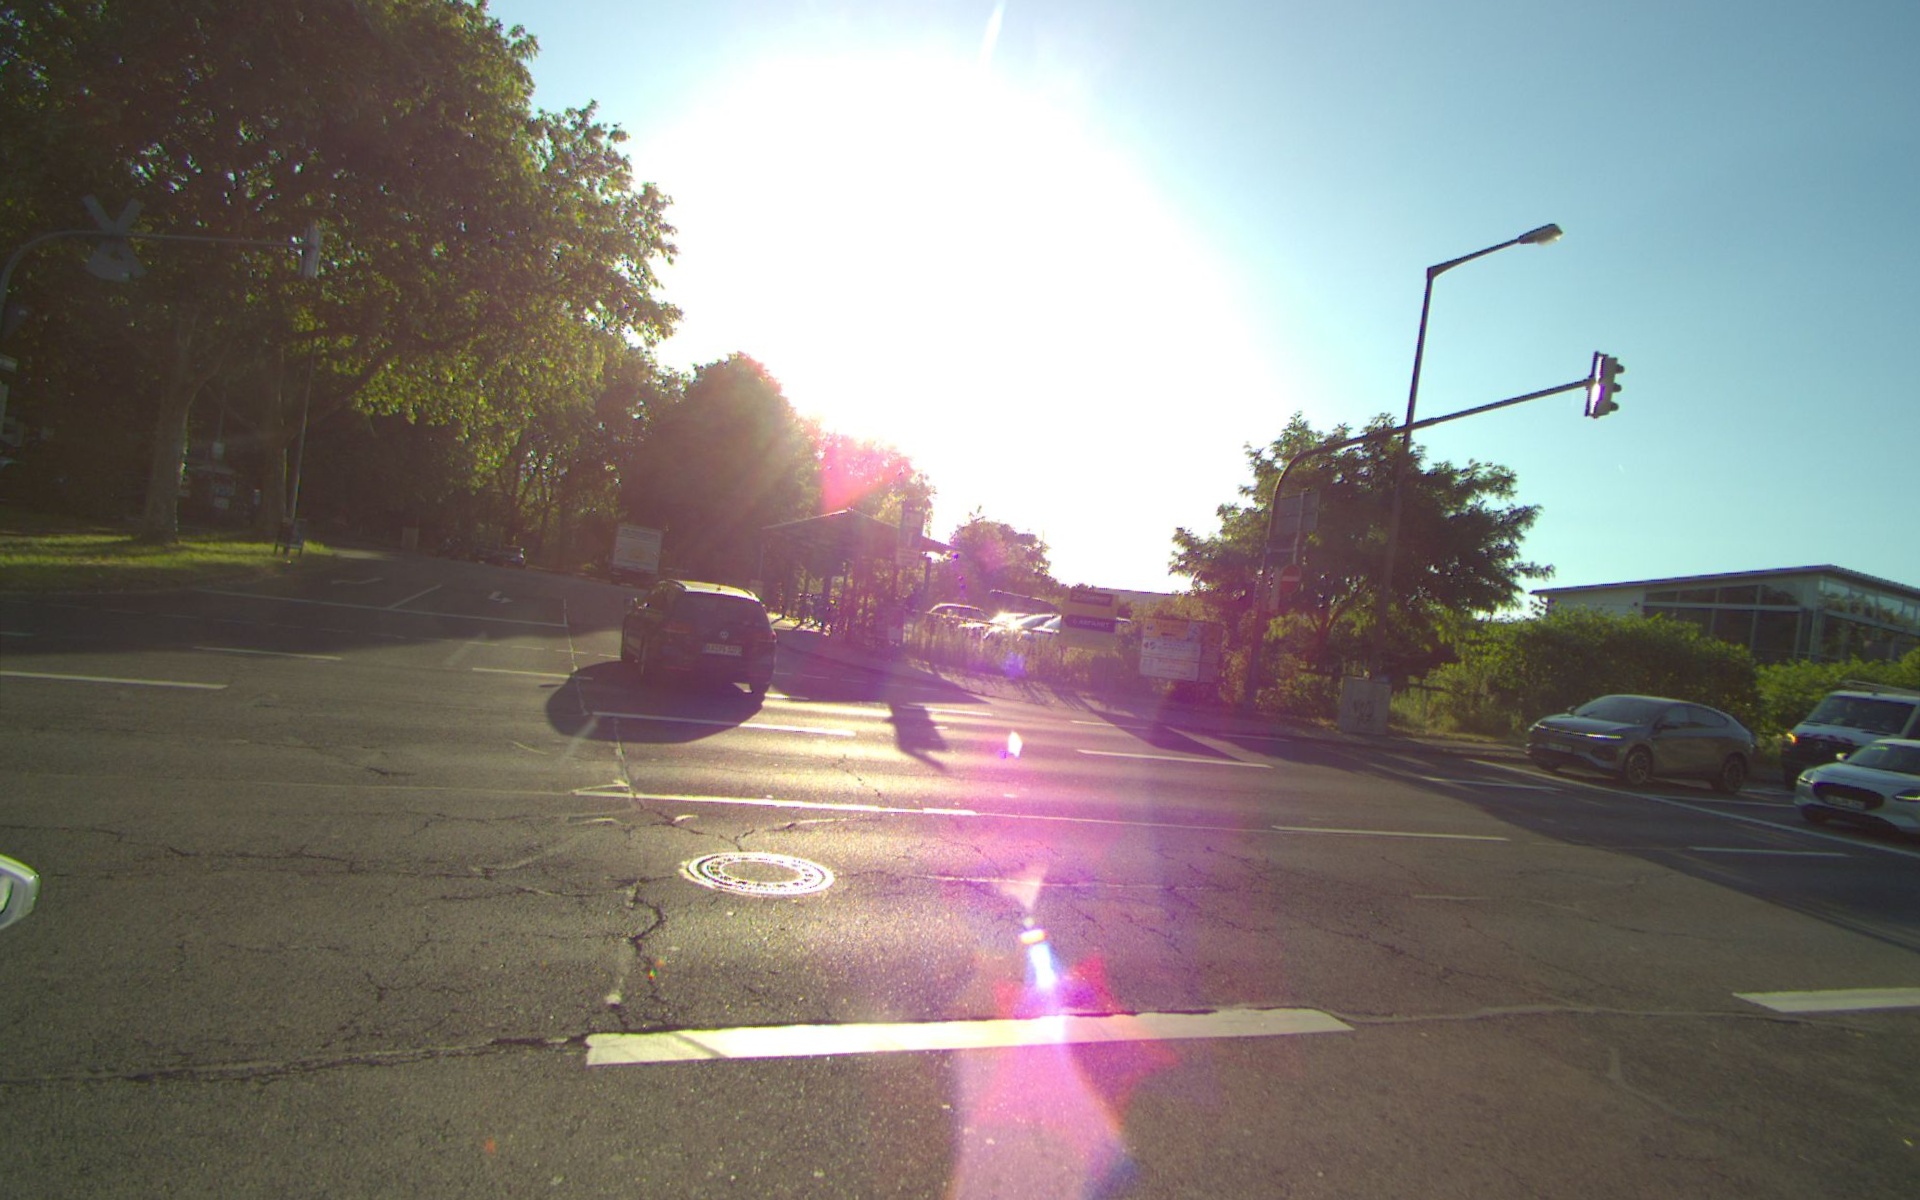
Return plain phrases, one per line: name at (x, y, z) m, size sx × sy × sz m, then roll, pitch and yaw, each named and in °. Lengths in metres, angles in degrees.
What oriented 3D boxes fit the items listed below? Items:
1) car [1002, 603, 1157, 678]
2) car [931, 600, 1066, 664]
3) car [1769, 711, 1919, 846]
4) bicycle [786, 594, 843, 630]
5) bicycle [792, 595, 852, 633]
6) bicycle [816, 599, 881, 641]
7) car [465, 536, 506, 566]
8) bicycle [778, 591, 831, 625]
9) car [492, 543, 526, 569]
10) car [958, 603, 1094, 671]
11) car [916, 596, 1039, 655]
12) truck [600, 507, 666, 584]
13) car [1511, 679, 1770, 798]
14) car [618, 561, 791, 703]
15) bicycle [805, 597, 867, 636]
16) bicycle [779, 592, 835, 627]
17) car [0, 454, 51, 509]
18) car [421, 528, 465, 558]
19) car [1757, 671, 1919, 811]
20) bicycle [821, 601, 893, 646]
car at (3.706, 1.266, 31.347) m, size 4.173 × 1.668 × 2.108 m, roll 8°, pitch 0°, yaw -24°
car at (1.398, 1.149, 36.464) m, size 4.265 × 1.668 × 2.108 m, roll 8°, pitch 0°, yaw -24°
car at (15.028, 2.860, 15.660) m, size 3.944 × 1.638 × 1.868 m, roll 8°, pitch 0°, yaw -20°
bicycle at (-5.211, 0.438, 36.087) m, size 1.866 × 1.051 × 0.542 m, roll 8°, pitch 1°, yaw -18°
bicycle at (-4.697, 0.470, 34.232) m, size 1.868 × 1.051 × 0.541 m, roll 8°, pitch 1°, yaw -21°
bicycle at (-3.490, 0.627, 31.482) m, size 1.868 × 1.051 × 0.541 m, roll 8°, pitch 1°, yaw -21°
car at (-29.549, -3.049, 62.757) m, size 1.826 × 1.571 × 3.981 m, roll 8°, pitch 0°, yaw -20°
bicycle at (-5.978, 0.303, 38.644) m, size 1.866 × 1.051 × 0.542 m, roll 8°, pitch 1°, yaw -18°
car at (-33.051, -3.241, 73.864) m, size 1.826 × 1.571 × 3.981 m, roll 8°, pitch 0°, yaw -20°
car at (2.230, 1.244, 34.121) m, size 3.949 × 1.668 × 2.108 m, roll 8°, pitch 0°, yaw -24°
car at (0.683, 1.025, 39.808) m, size 4.265 × 1.668 × 2.108 m, roll 8°, pitch 0°, yaw -24°
truck at (-20.409, -3.341, 62.688) m, size 3.149 × 3.923 × 11.050 m, roll 8°, pitch 0°, yaw -19°
car at (13.111, 2.677, 19.385) m, size 4.489 × 1.638 × 1.866 m, roll 8°, pitch 0°, yaw -23°
car at (-3.943, 0.363, 14.967) m, size 1.806 × 1.574 × 4.236 m, roll 8°, pitch 0°, yaw -22°
bicycle at (-4.142, 0.551, 33.544) m, size 1.868 × 1.051 × 0.541 m, roll 8°, pitch 1°, yaw -21°
bicycle at (-5.643, 0.345, 37.115) m, size 1.866 × 1.051 × 0.542 m, roll 8°, pitch 1°, yaw -18°
car at (-31.364, -3.932, 32.041) m, size 2.016 × 1.593 × 4.379 m, roll 8°, pitch 0°, yaw -21°
car at (-32.639, -3.607, 63.615) m, size 1.826 × 1.571 × 3.981 m, roll 8°, pitch 0°, yaw -20°
car at (20.981, 3.274, 22.578) m, size 5.797 × 2.562 × 1.999 m, roll 8°, pitch 0°, yaw -22°
bicycle at (-2.954, 0.675, 28.814) m, size 1.868 × 1.051 × 0.541 m, roll 8°, pitch 1°, yaw -21°
